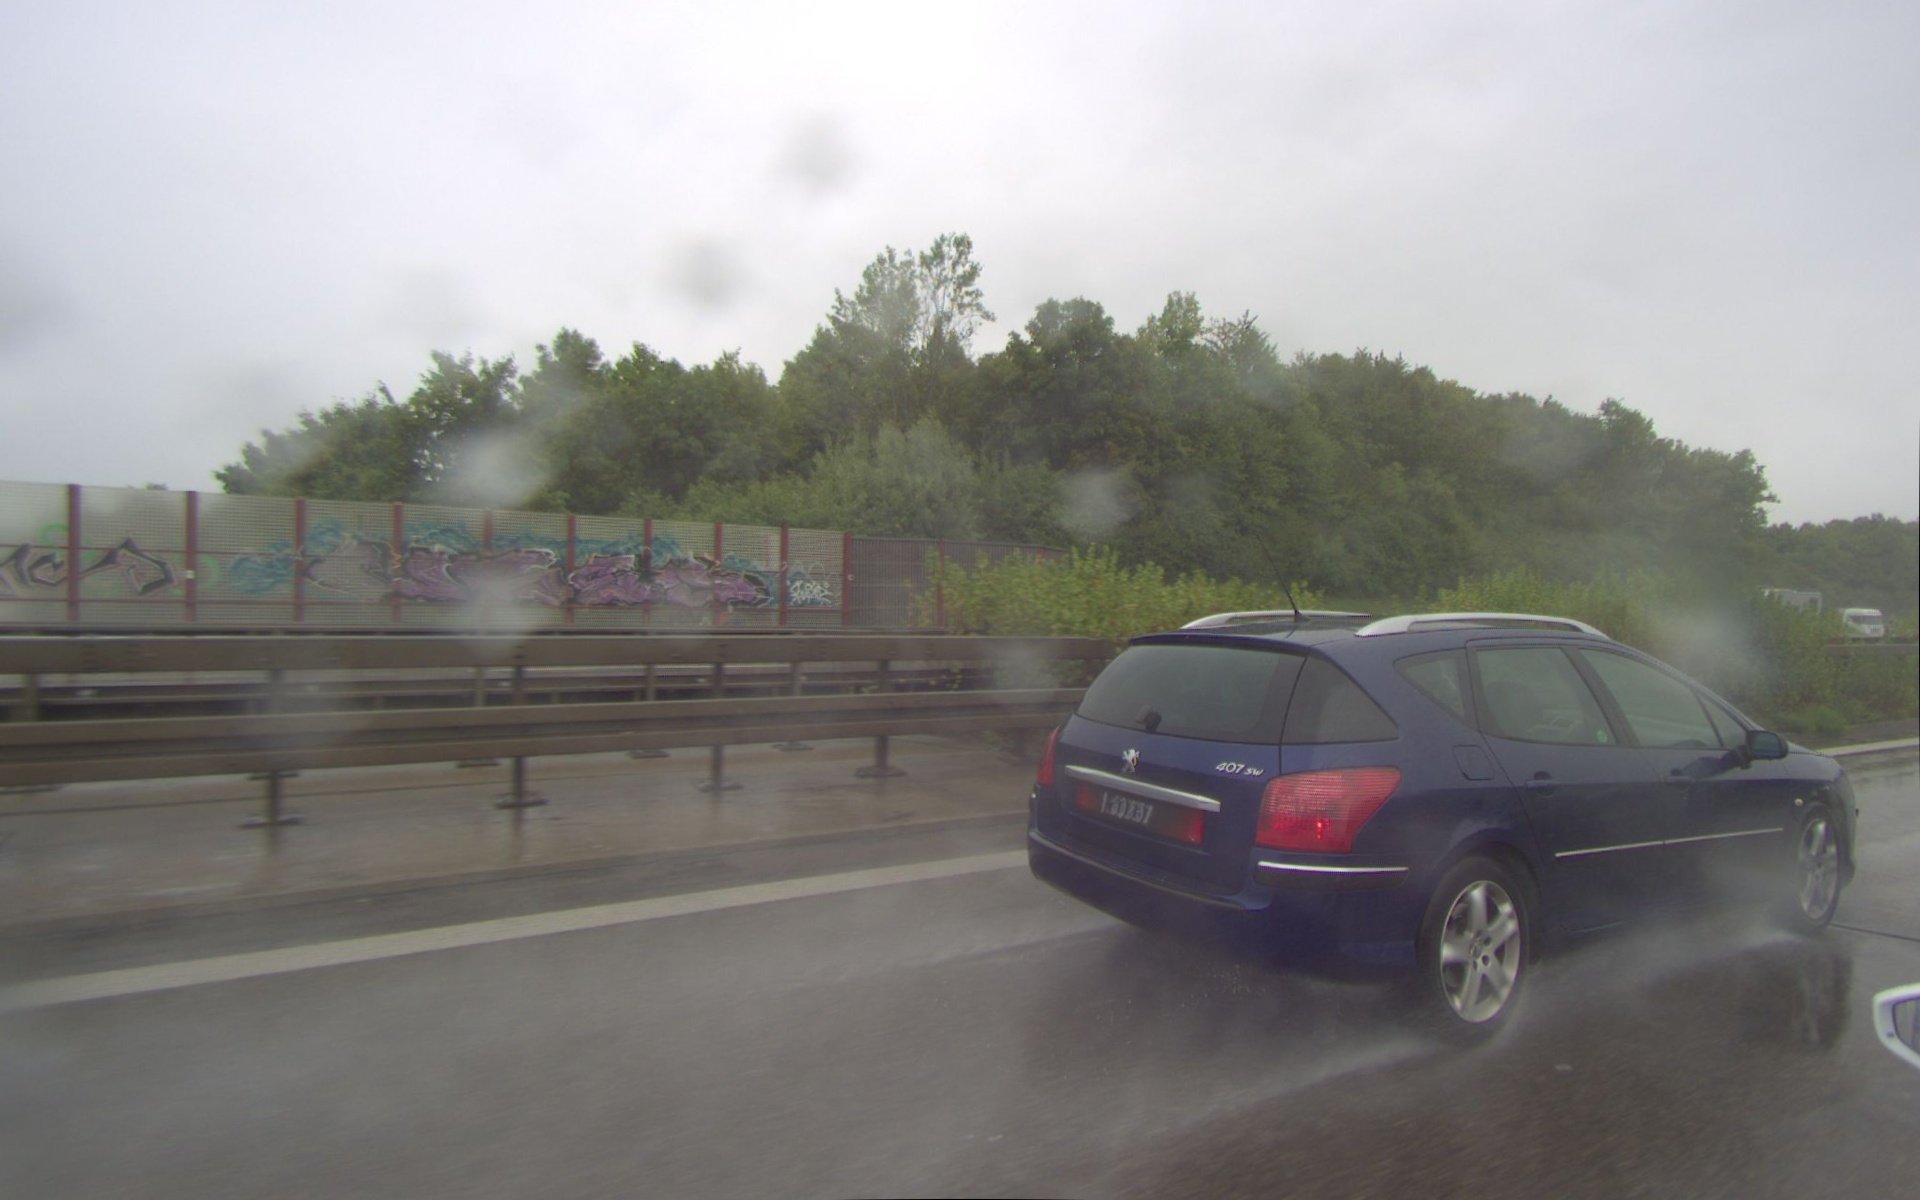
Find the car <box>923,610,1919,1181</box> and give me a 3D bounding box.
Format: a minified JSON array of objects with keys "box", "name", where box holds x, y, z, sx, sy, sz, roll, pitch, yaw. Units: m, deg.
[{"box":[2.542,0.833,4.871,5.095,1.505,2.045,1,0,-30],"name":"car"}]
